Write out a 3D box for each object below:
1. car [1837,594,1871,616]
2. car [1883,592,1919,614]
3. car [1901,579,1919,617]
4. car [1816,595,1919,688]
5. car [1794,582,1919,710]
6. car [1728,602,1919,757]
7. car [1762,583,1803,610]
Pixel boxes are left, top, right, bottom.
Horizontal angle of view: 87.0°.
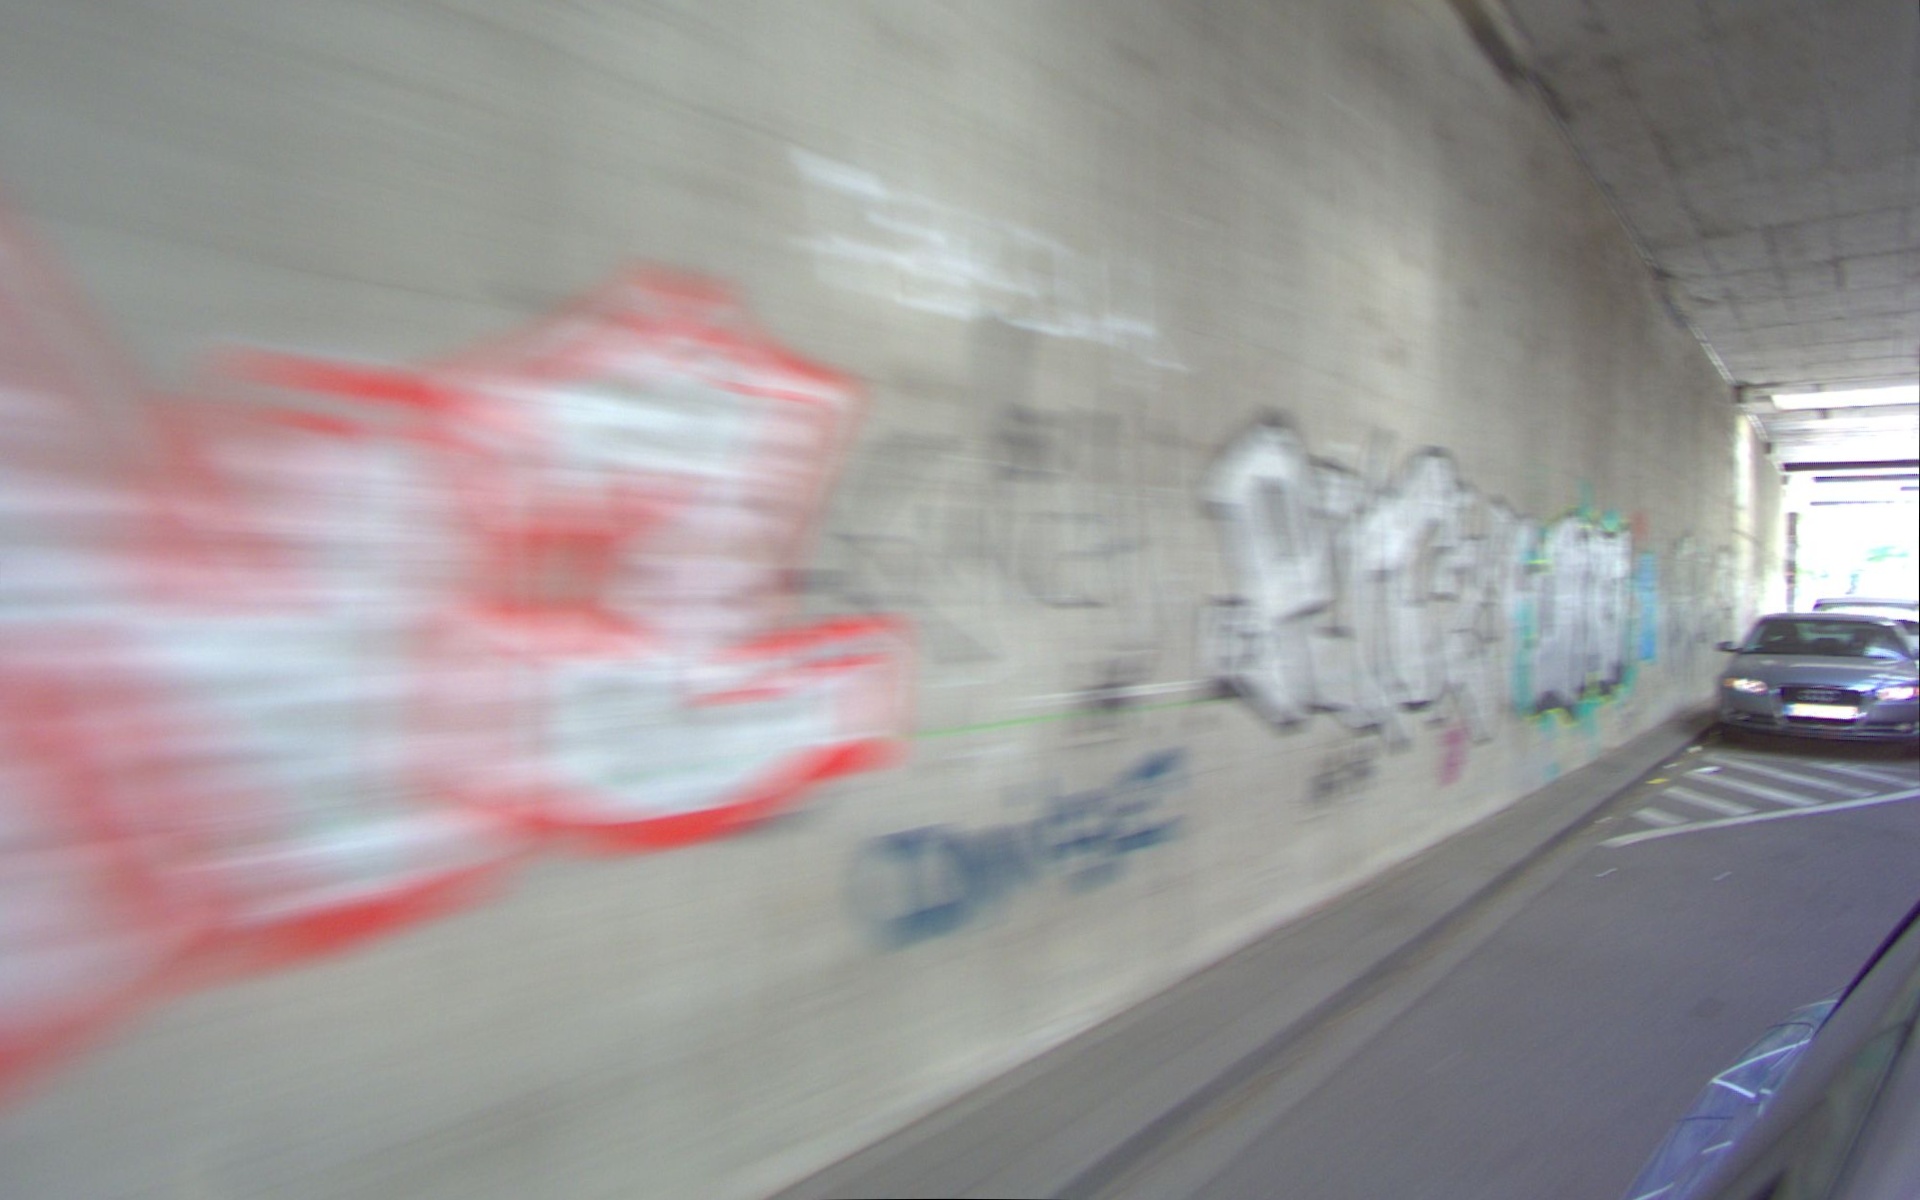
[{"bbox_3d":[79.197,0.409,89.713,1.765,1.905,3.951,1,0,34],"label":"car"},{"bbox_3d":[70.992,0.227,76.171,1.683,1.576,3.777,1,1,33],"label":"car"},{"bbox_3d":[64.622,-0.134,67.158,2.203,2.482,5.039,1,1,31],"label":"car"},{"bbox_3d":[17.578,0.714,19.379,1.727,1.565,4.097,1,1,39],"label":"car"},{"bbox_3d":[13.802,0.622,15.162,1.852,1.687,4.304,0,0,42],"label":"car"},{"bbox_3d":[9.835,0.736,11.273,1.700,1.392,4.307,0,0,42],"label":"car"},{"bbox_3d":[65.606,-0.260,80.807,1.981,2.055,4.254,1,0,31],"label":"car"}]
